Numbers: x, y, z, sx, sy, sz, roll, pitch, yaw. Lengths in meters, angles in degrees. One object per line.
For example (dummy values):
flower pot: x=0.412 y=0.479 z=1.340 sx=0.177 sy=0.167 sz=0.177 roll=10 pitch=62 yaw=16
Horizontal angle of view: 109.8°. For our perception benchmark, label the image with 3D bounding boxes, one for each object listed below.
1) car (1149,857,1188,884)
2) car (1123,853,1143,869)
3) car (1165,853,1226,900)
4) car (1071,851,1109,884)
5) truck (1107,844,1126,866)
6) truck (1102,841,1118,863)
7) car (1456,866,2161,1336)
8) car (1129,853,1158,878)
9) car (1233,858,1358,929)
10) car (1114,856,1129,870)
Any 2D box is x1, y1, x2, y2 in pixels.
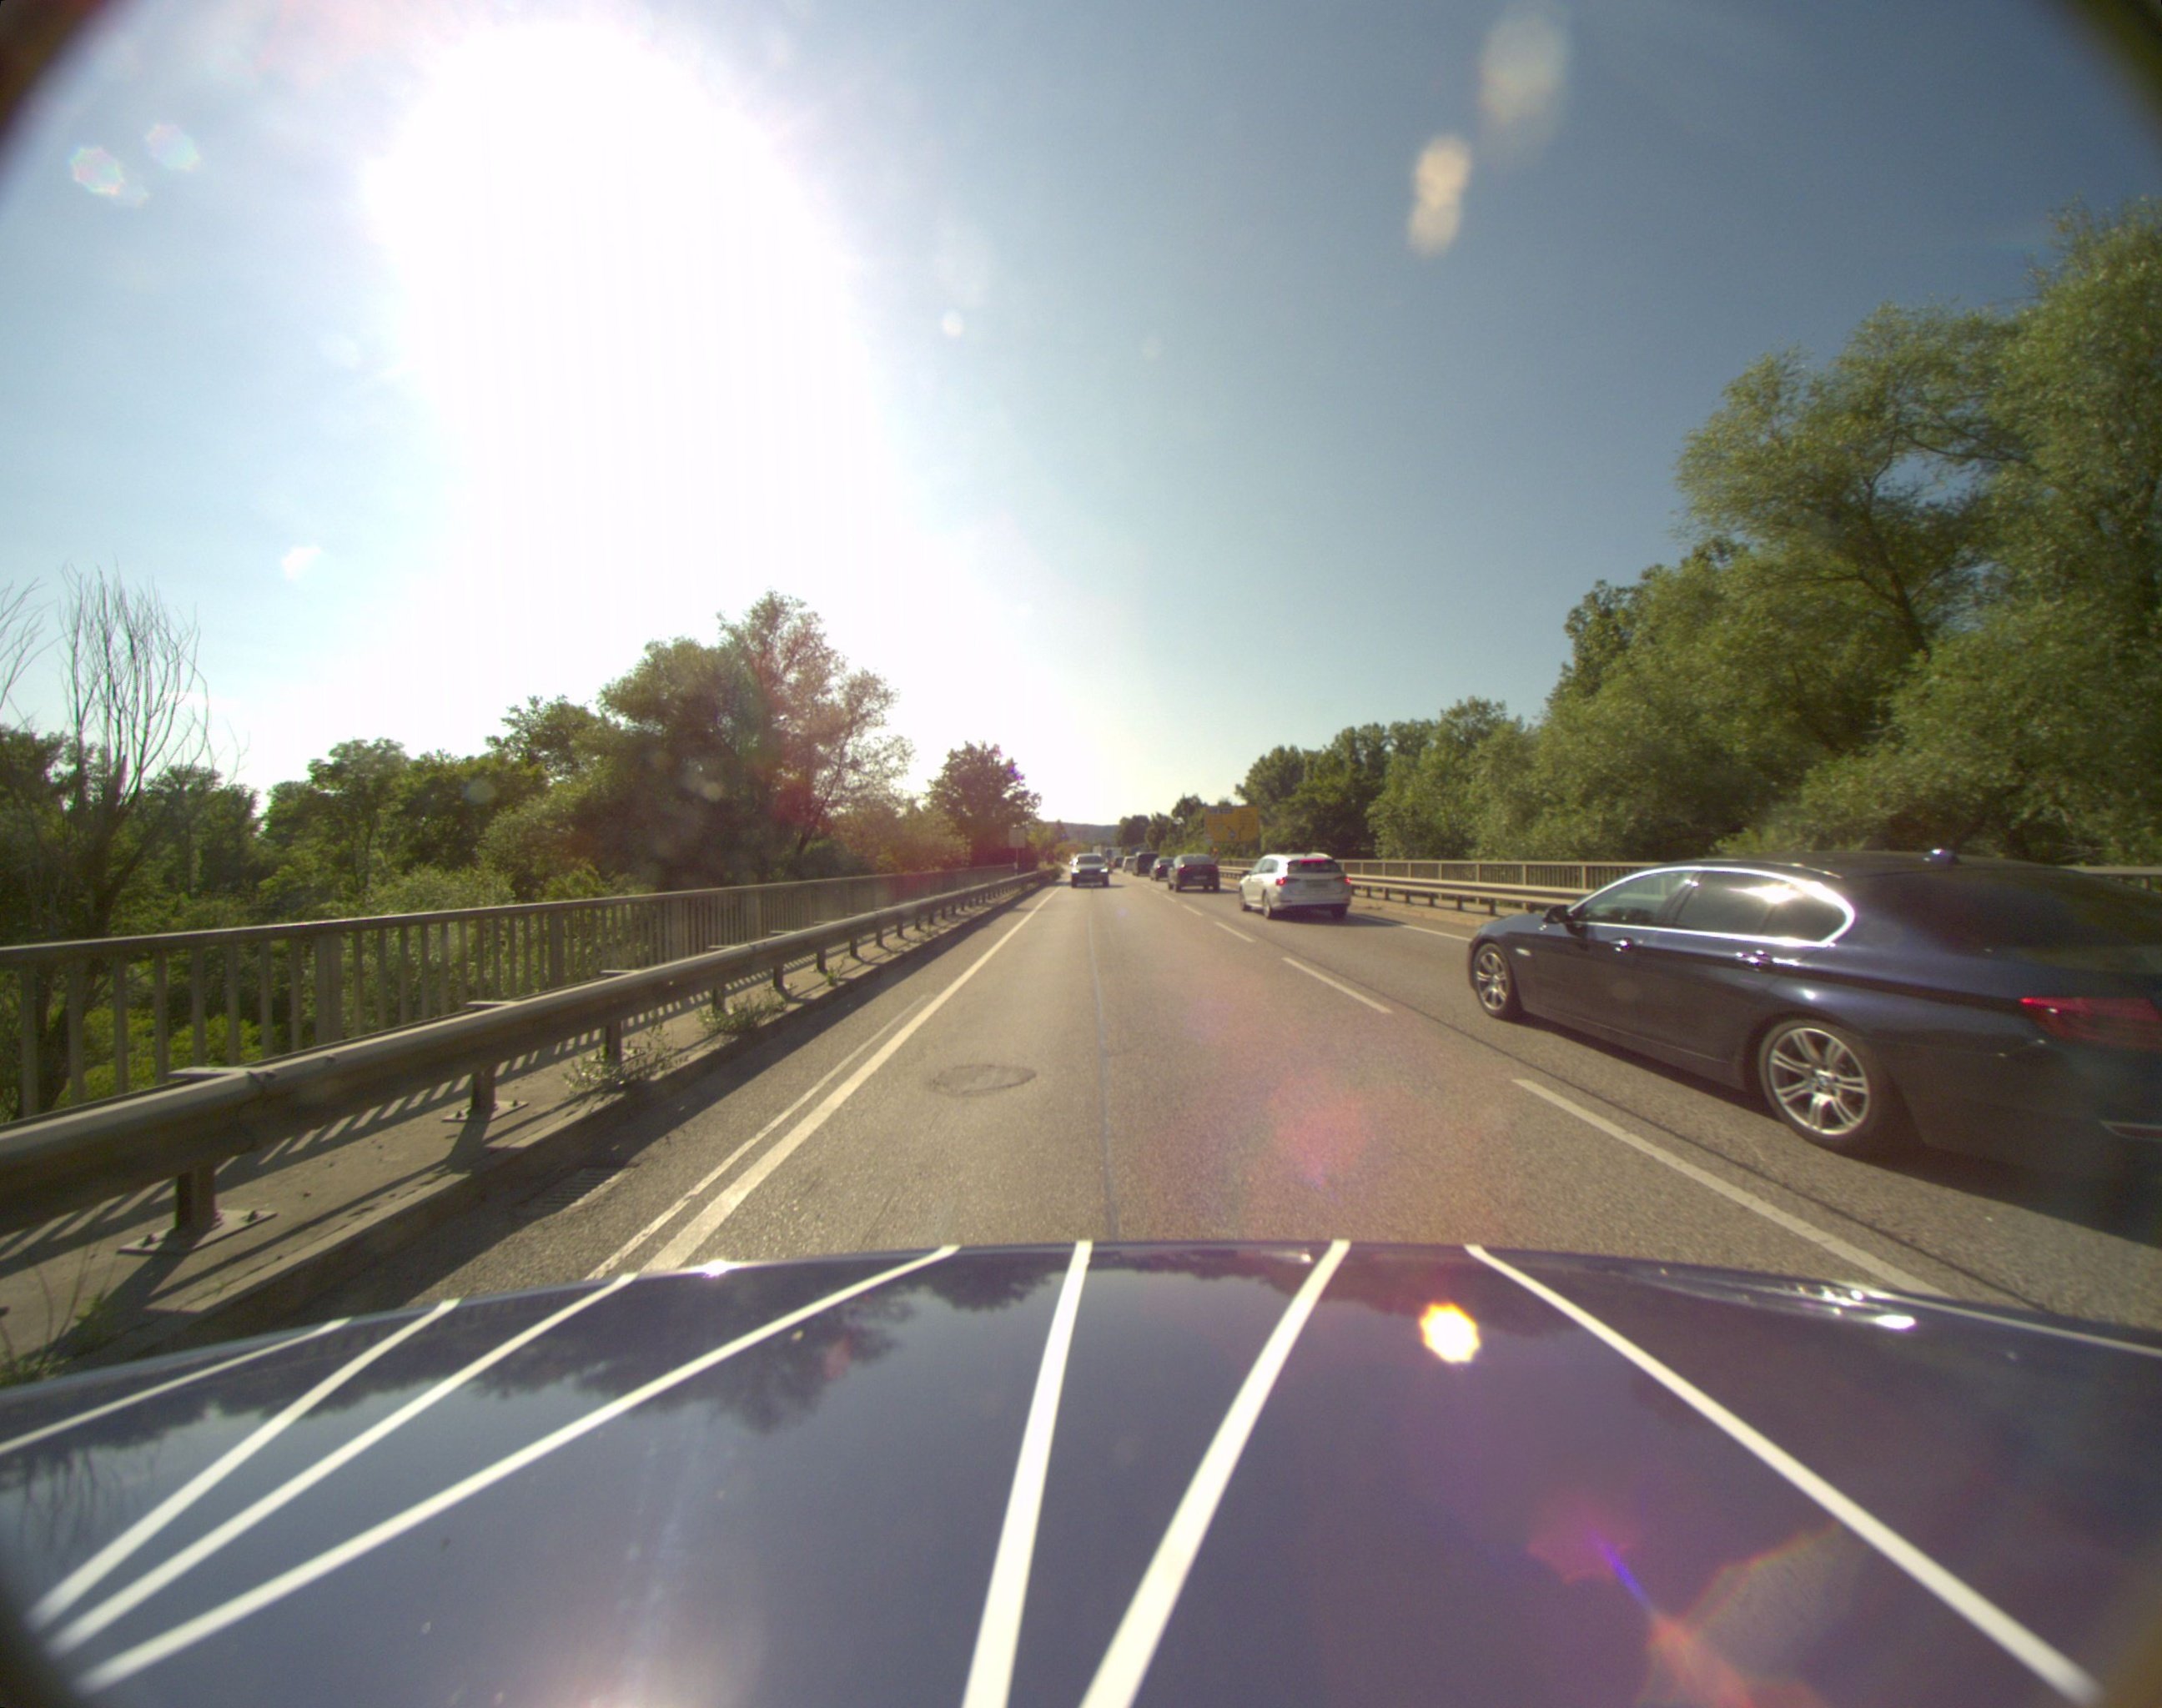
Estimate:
car: x=5.409 y=0.991 z=47.284 sx=1.893 sy=1.479 sz=4.272 roll=-2 pitch=0 yaw=0
car: x=5.180 y=0.691 z=76.664 sx=1.824 sy=1.537 sz=4.061 roll=-2 pitch=0 yaw=2
car: x=4.775 y=0.899 z=32.301 sx=1.972 sy=1.796 sz=4.531 roll=-1 pitch=0 yaw=1
car: x=0.501 y=0.663 z=40.396 sx=1.871 sy=1.599 sz=4.380 roll=-1 pitch=0 yaw=2
truck: x=5.266 y=0.156 z=113.960 sx=2.620 sy=3.235 sz=6.967 roll=-1 pitch=0 yaw=0
truck: x=5.722 y=-0.343 z=151.241 sx=2.744 sy=4.303 sz=8.129 roll=-1 pitch=0 yaw=0
car: x=4.368 y=0.836 z=4.768 sx=1.791 sy=1.412 sz=4.651 roll=-1 pitch=0 yaw=1
car: x=4.940 y=0.882 z=60.270 sx=1.972 sy=1.796 sz=4.531 roll=-1 pitch=0 yaw=1
car: x=4.961 y=0.846 z=18.224 sx=1.736 sy=1.427 sz=4.486 roll=-1 pitch=0 yaw=0
car: x=5.187 y=1.149 z=97.722 sx=1.743 sy=1.655 sz=4.046 roll=-1 pitch=0 yaw=0
